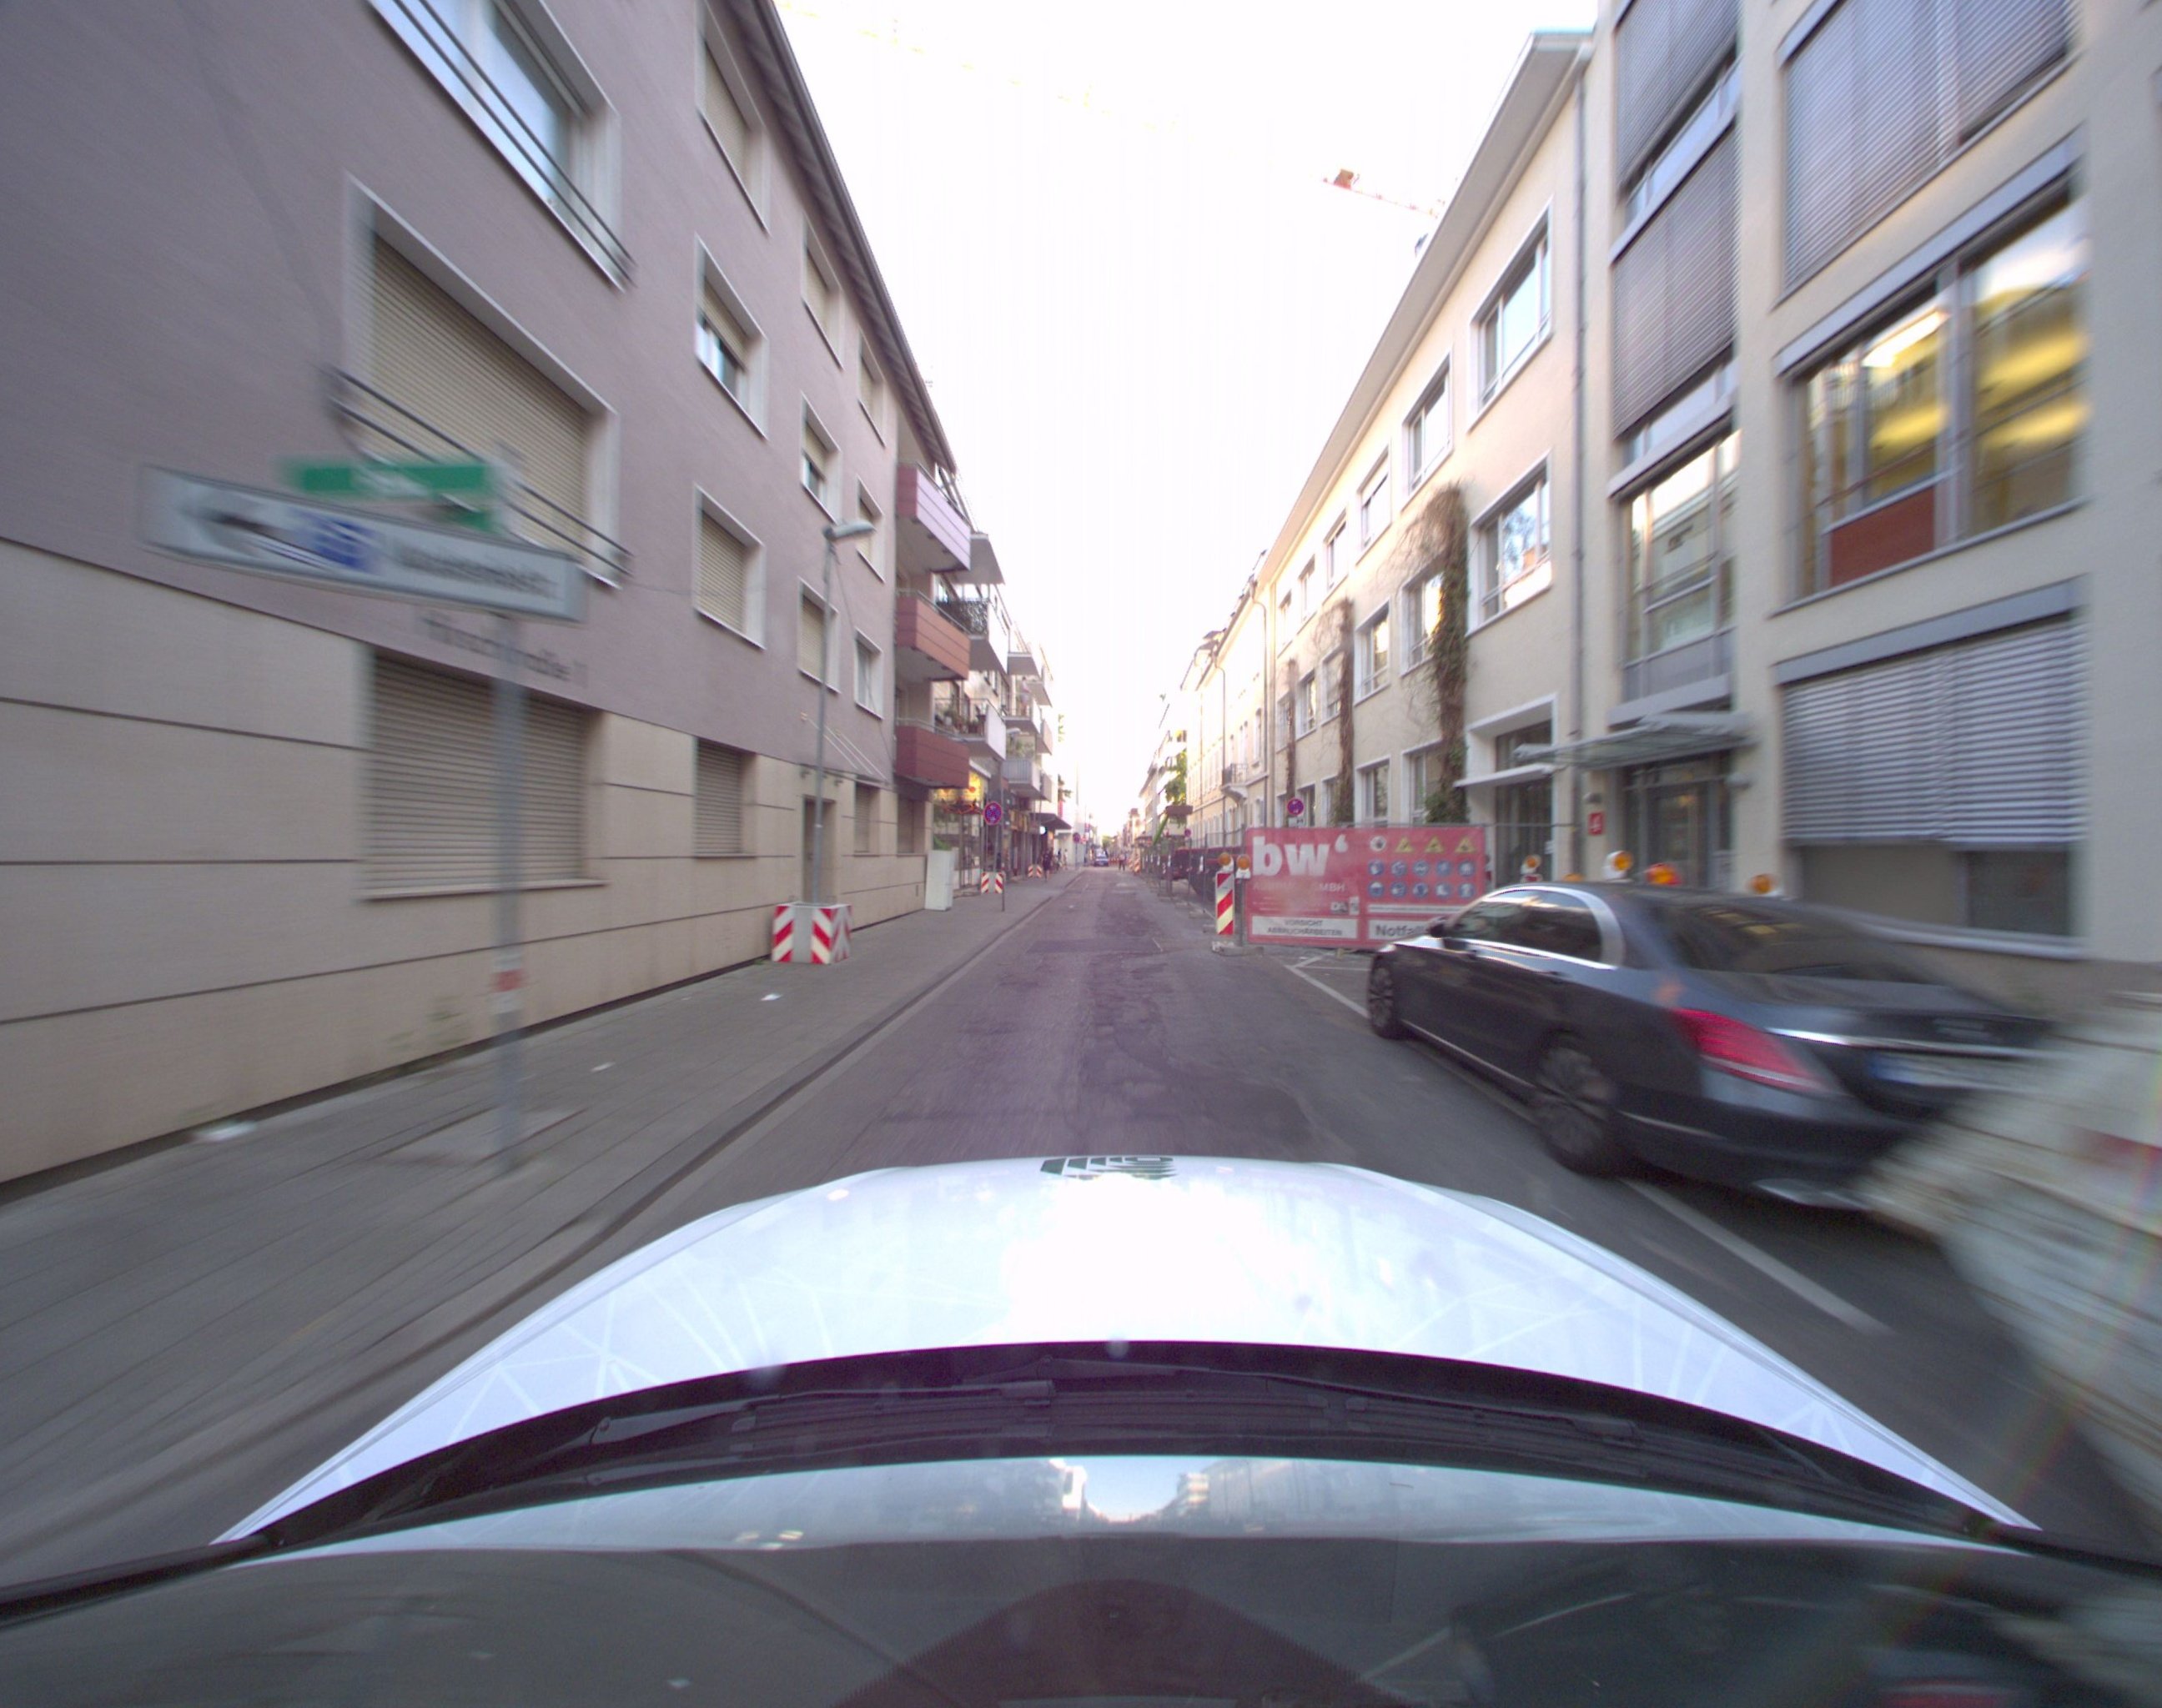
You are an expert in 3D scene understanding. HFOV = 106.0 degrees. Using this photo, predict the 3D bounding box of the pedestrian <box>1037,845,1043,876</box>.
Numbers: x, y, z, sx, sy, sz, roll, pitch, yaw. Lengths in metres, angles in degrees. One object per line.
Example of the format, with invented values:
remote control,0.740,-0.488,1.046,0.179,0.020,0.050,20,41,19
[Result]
pedestrian,-2.726,0.441,54.378,0.409,2.013,0.454,0,0,-1

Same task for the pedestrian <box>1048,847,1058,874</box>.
pedestrian,-1.978,0.432,57.613,0.574,1.886,0.651,0,0,-22

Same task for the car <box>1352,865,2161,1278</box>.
car,3.261,0.829,5.239,1.687,1.406,4.481,1,0,2

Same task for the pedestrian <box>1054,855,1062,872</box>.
pedestrian,-1.849,0.769,65.779,0.540,1.387,0.625,0,0,2

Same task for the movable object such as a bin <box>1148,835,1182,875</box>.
movable object such as a bin,6.856,0.078,66.648,2.461,3.130,4.300,1,1,2

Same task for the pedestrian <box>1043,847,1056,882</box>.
pedestrian,-1.680,0.549,43.029,0.626,1.808,0.648,0,0,3

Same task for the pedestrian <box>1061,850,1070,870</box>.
pedestrian,-1.355,0.542,72.216,0.646,1.809,0.628,0,0,-15

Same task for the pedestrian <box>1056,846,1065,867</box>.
pedestrian,-1.828,0.224,73.100,0.646,1.809,0.628,0,0,-15

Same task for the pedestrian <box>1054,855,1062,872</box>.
pedestrian,-1.826,0.753,64.633,0.556,1.391,0.893,0,0,2

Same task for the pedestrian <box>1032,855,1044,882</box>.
pedestrian,-2.543,0.828,48.035,0.646,1.565,0.628,0,0,-13

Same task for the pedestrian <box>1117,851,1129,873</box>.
pedestrian,3.387,0.663,65.731,0.651,1.740,0.714,1,0,-41

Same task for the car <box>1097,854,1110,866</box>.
car,2.710,0.695,98.101,1.468,1.398,3.333,0,0,2
